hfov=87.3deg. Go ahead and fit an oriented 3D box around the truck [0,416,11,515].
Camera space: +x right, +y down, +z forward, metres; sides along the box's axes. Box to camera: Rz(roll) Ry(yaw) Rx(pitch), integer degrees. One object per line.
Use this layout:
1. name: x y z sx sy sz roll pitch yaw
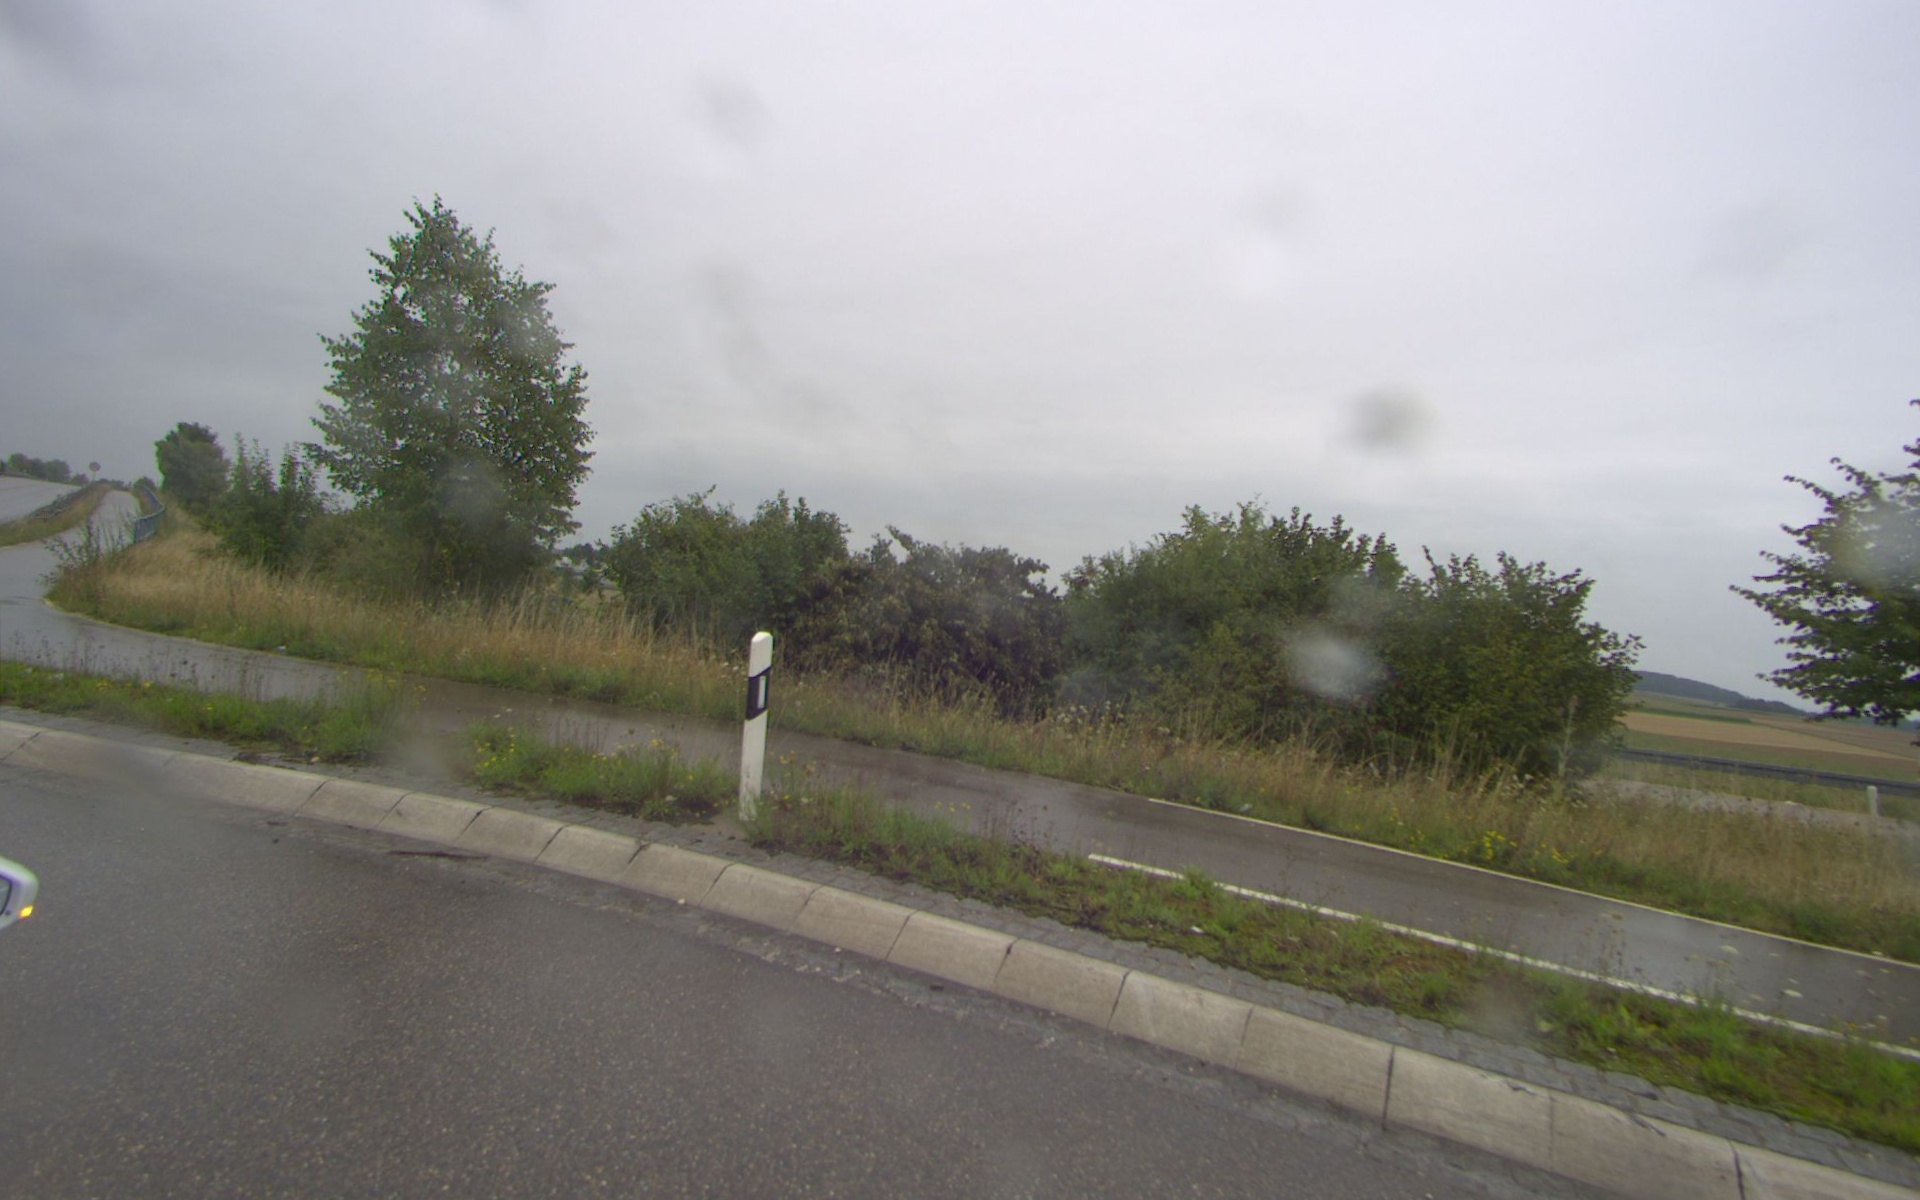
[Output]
1. truck: -37.785 -5.227 37.223 2.784 3.868 7.609 6 1 -37
